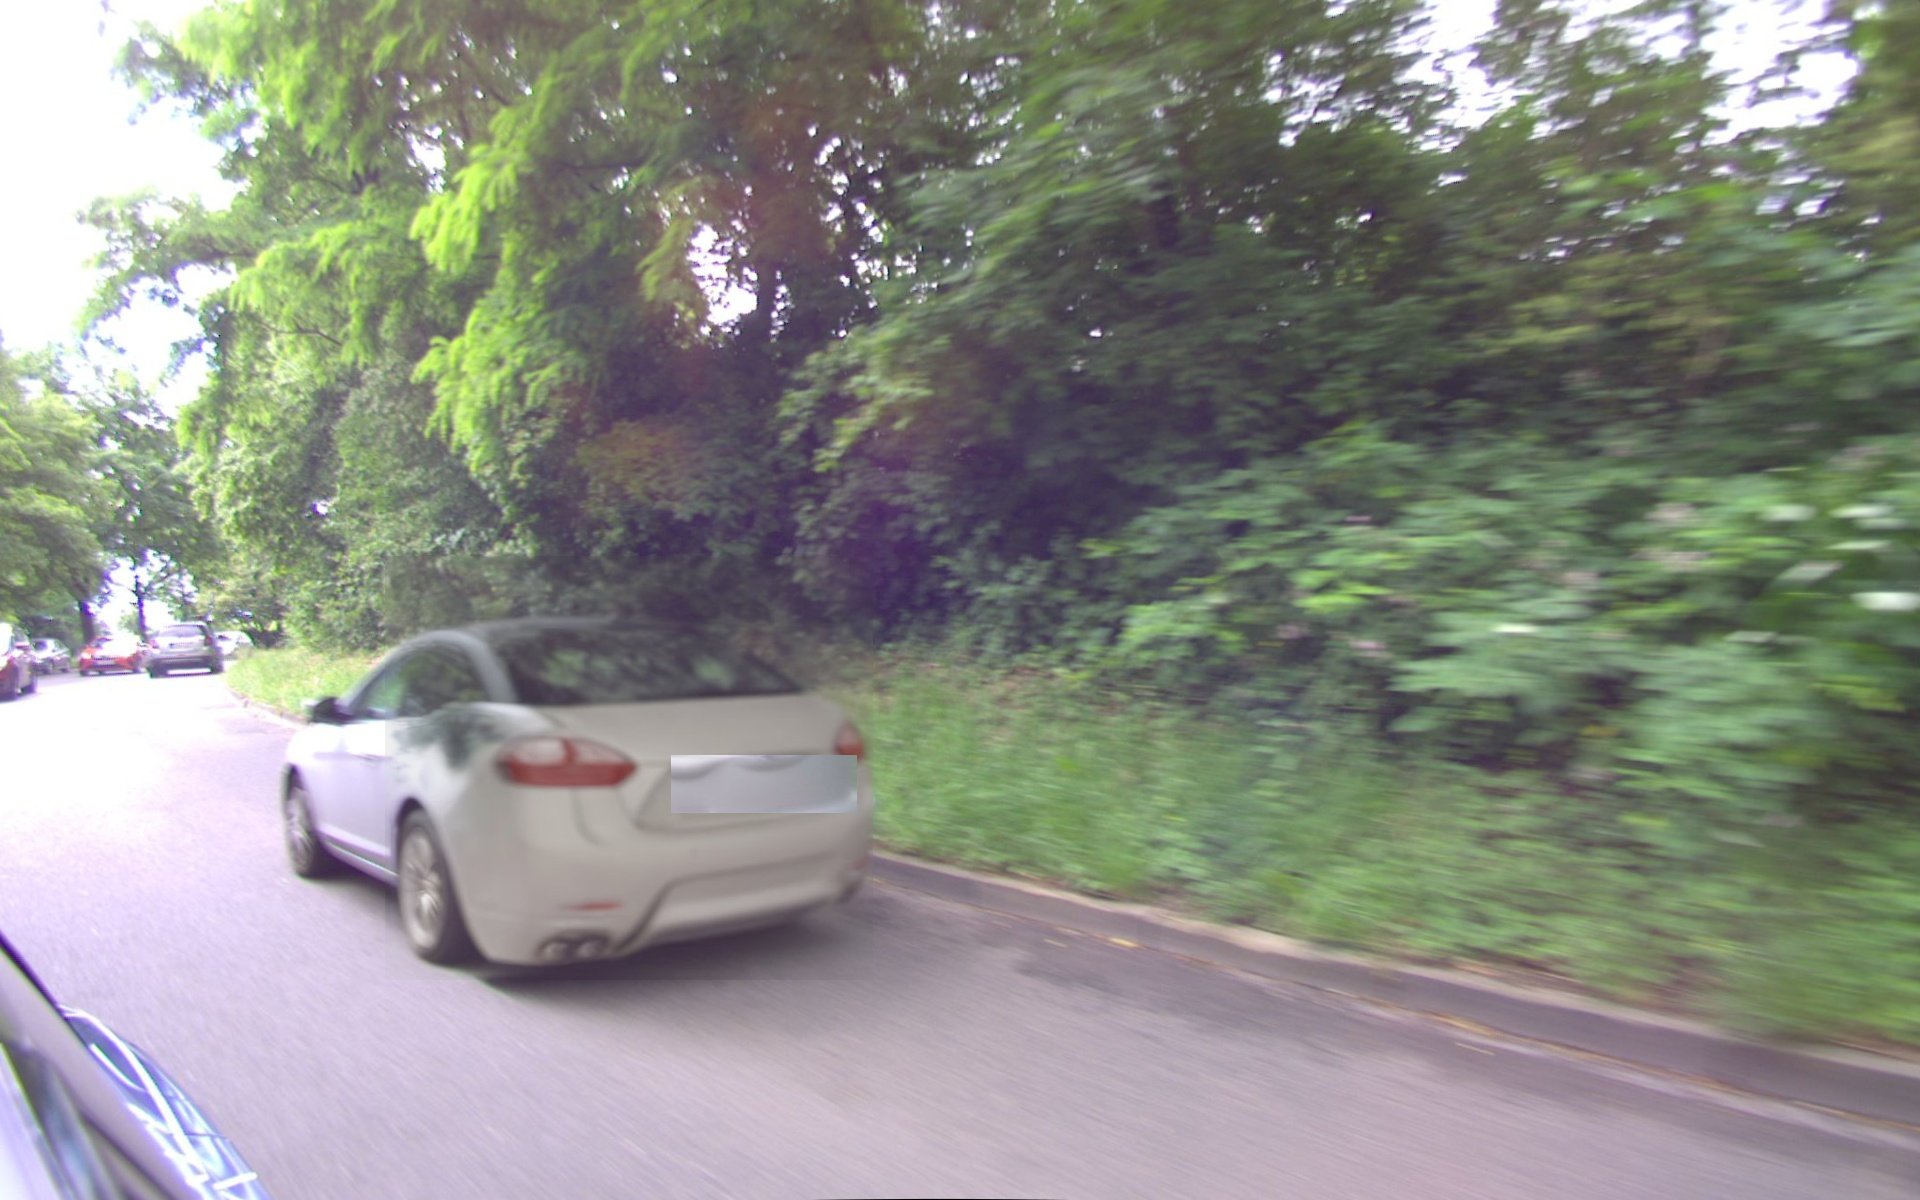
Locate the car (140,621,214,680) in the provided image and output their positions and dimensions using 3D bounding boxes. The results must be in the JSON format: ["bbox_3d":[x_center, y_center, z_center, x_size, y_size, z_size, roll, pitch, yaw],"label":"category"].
[{"bbox_3d":[-25.956,1.617,33.560,1.797,1.741,4.321,-2,0,-38],"label":"car"}]

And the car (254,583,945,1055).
[{"bbox_3d":[-2.132,0.749,5.292,4.000,1.519,1.774,-2,-1,43],"label":"car"}]

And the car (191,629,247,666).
[{"bbox_3d":[-41.792,2.646,57.158,1.926,1.853,4.692,-2,0,-29],"label":"car"}]

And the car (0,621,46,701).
[{"bbox_3d":[-21.697,1.305,22.079,1.972,1.621,4.689,-2,0,-35],"label":"car"}]

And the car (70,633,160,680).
[{"bbox_3d":[-31.481,2.054,37.834,1.926,1.483,4.690,-2,0,-32],"label":"car"}]

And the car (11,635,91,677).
[{"bbox_3d":[-36.505,2.200,40.730,1.687,1.432,4.690,-2,0,-33],"label":"car"}]
